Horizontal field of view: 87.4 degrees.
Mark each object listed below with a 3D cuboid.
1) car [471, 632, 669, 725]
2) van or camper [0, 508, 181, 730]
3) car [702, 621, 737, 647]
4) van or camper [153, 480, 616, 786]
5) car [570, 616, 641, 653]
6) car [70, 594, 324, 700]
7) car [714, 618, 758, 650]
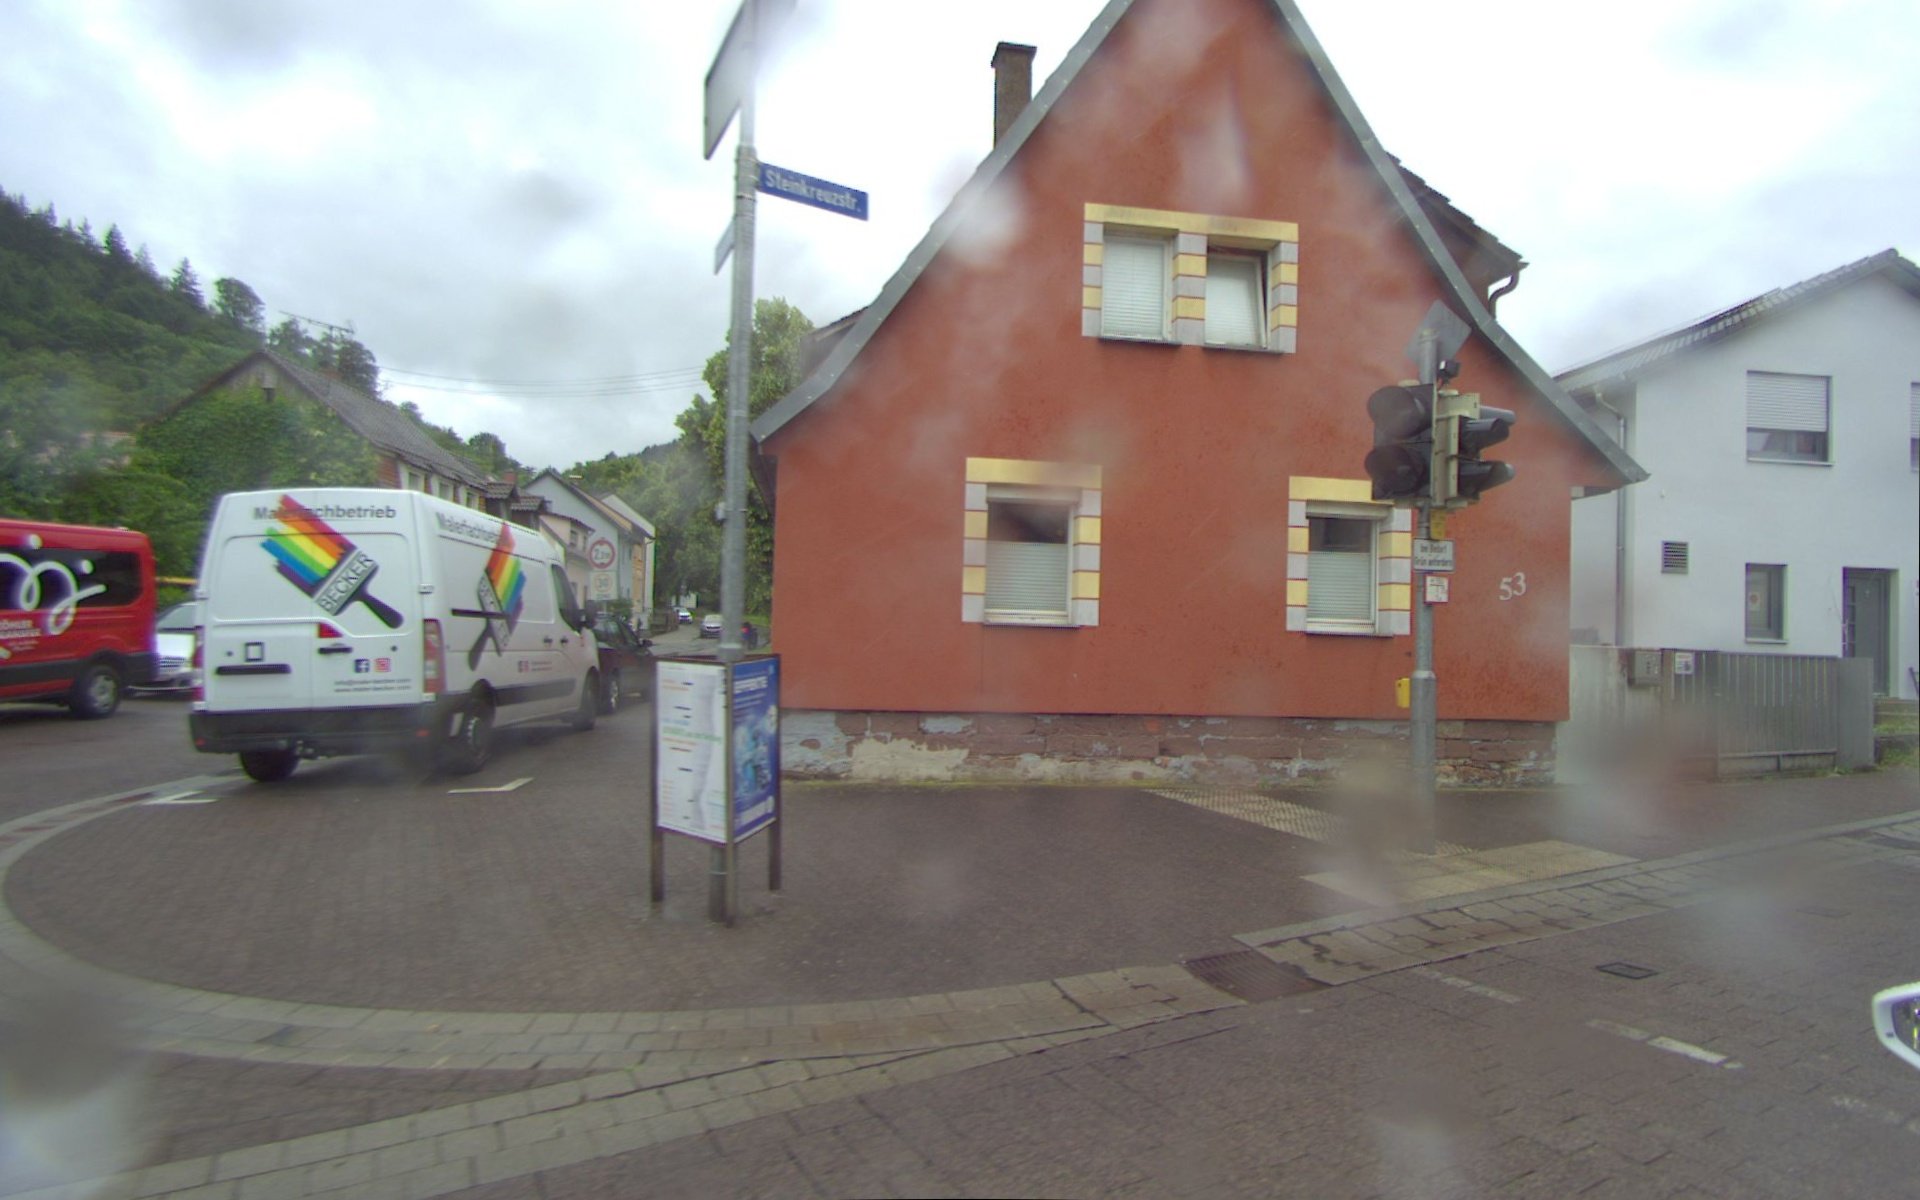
[{"bbox_3d":[-6.100,1.169,16.224,1.802,1.298,4.002,0,-2,-3],"label":"car"},{"bbox_3d":[-11.894,0.173,11.131,2.114,2.506,5.875,2,-1,-4],"label":"van or camper"},{"bbox_3d":[-17.260,2.445,72.323,1.943,1.638,4.437,1,0,-8],"label":"car"},{"bbox_3d":[-5.543,0.342,10.746,2.169,2.467,5.158,0,-2,-3],"label":"van or camper"},{"bbox_3d":[-15.286,1.472,43.506,1.651,1.449,3.665,3,-1,1],"label":"car"},{"bbox_3d":[-12.937,0.778,17.375,1.768,1.570,3.807,2,-2,-8],"label":"car"},{"bbox_3d":[-12.674,1.896,57.018,1.829,1.571,3.997,1,0,-5],"label":"car"}]
